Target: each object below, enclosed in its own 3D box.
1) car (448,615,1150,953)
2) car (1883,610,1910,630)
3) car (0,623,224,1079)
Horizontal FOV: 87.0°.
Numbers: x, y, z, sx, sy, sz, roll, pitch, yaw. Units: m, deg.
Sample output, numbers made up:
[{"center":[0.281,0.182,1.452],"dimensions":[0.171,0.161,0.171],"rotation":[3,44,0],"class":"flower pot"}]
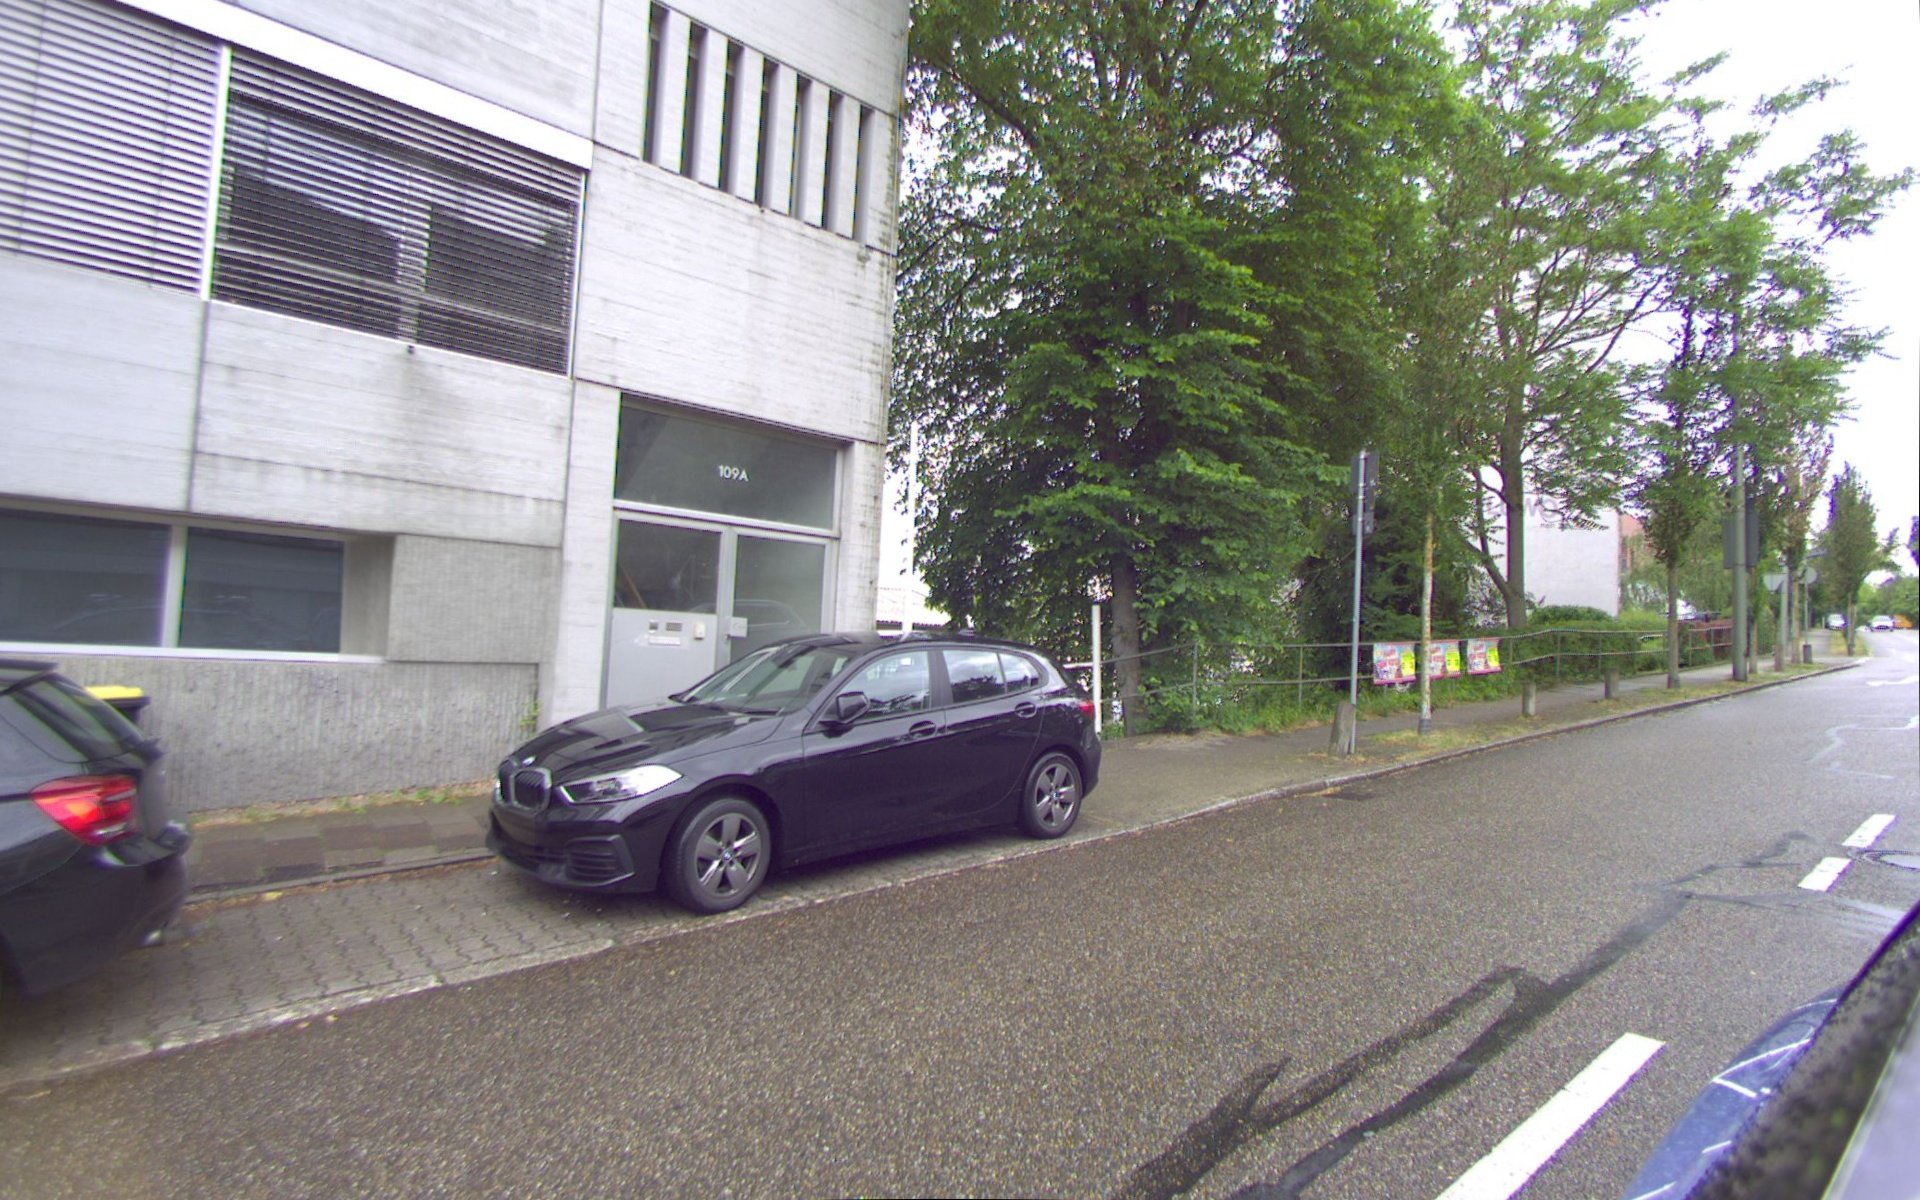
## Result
[{"center":[-0.844,0.887,6.918],"dimensions":[4.367,1.453,1.996],"rotation":[0,2,-43],"class":"car"},{"center":[91.778,1.951,99.173],"dimensions":[1.887,1.741,4.172],"rotation":[2,2,43],"class":"car"},{"center":[-4.908,0.856,3.158],"dimensions":[4.173,1.466,1.753],"rotation":[0,0,-38],"class":"car"}]
